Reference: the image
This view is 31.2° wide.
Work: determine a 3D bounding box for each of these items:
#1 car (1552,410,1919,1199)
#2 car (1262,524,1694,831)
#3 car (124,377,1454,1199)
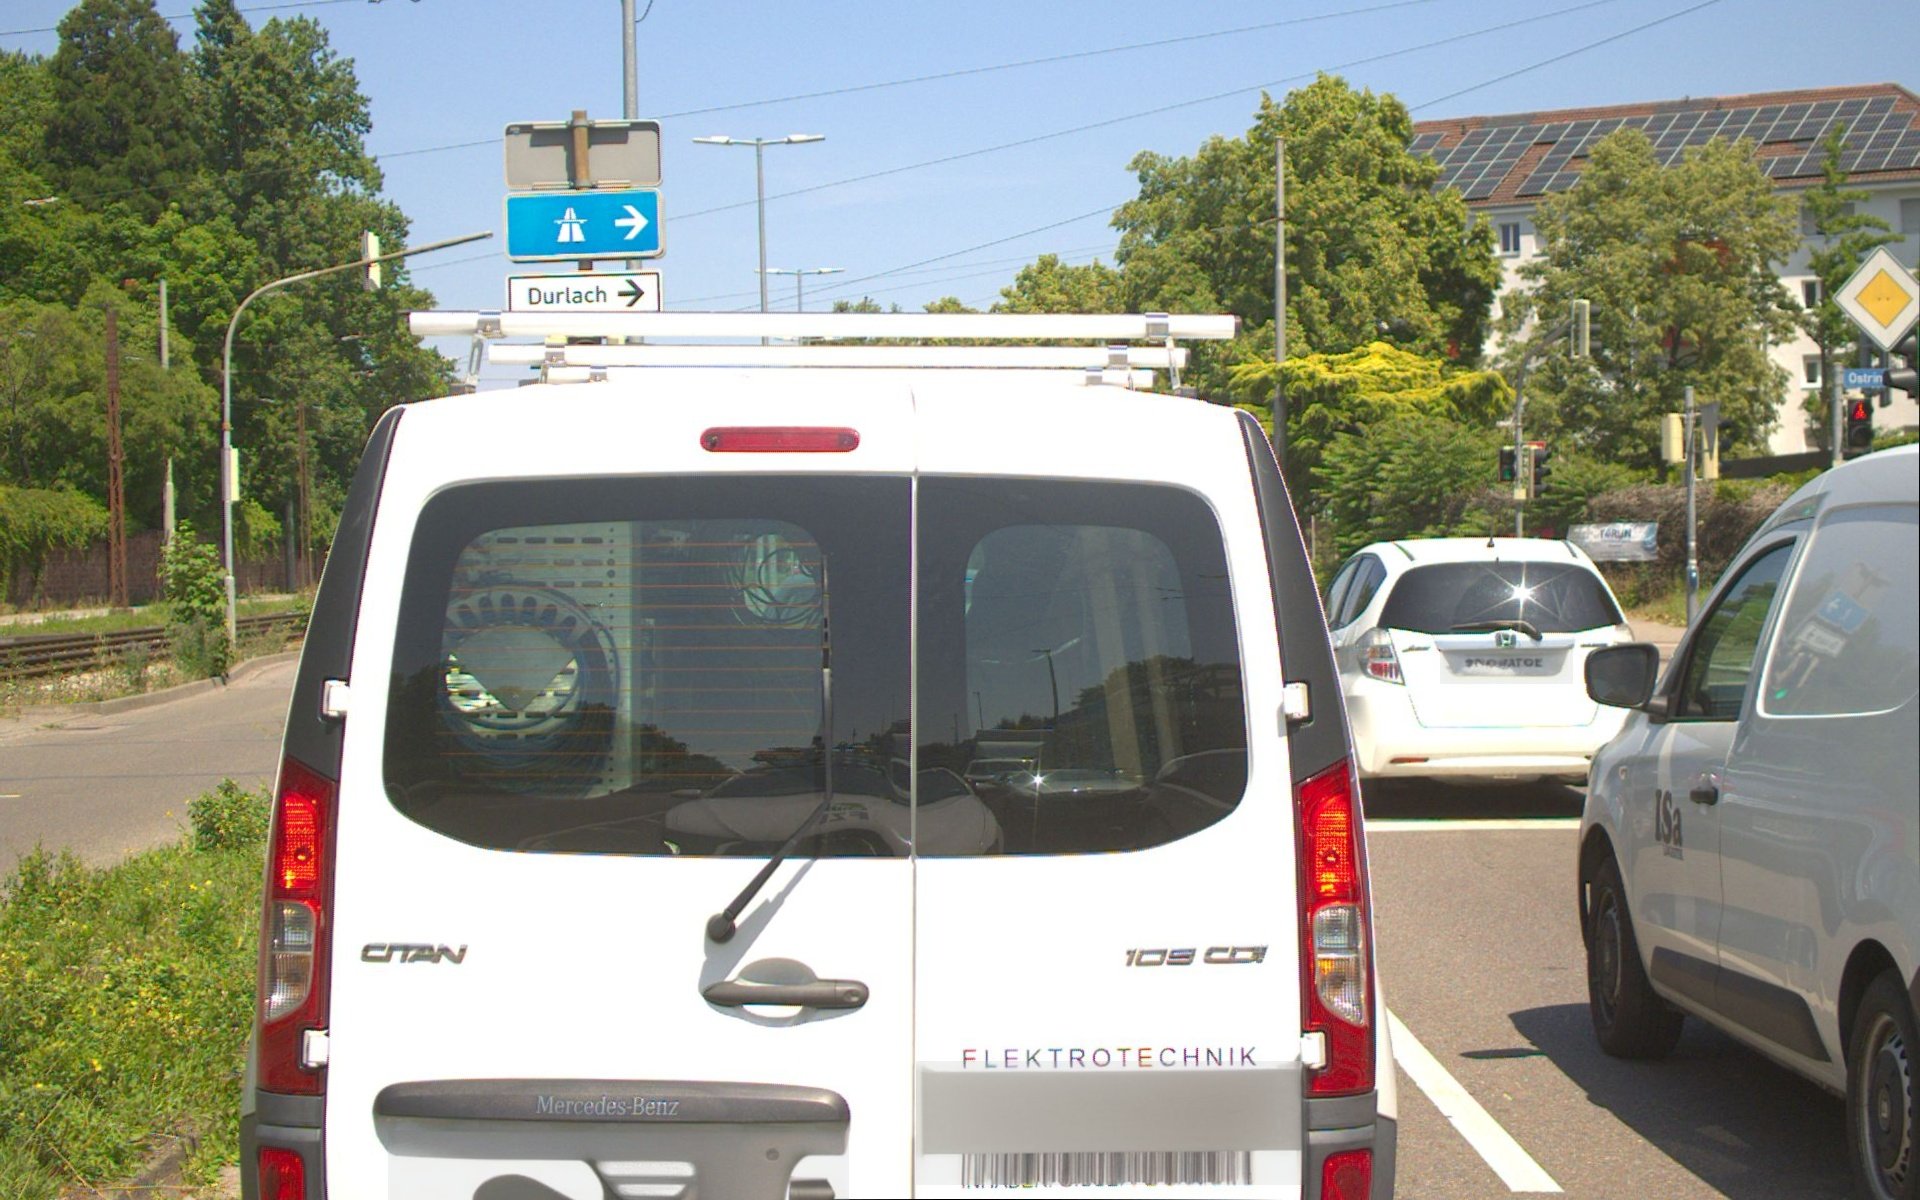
[{"bbox_3d":[2.749,0.496,8.548,1.727,1.782,4.065,1,1,-2],"label":"car"},{"bbox_3d":[2.883,0.362,19.972,1.835,1.563,4.000,1,1,-1],"label":"car"},{"bbox_3d":[-0.257,0.524,6.920,1.821,1.734,4.396,0,1,-1],"label":"car"}]
